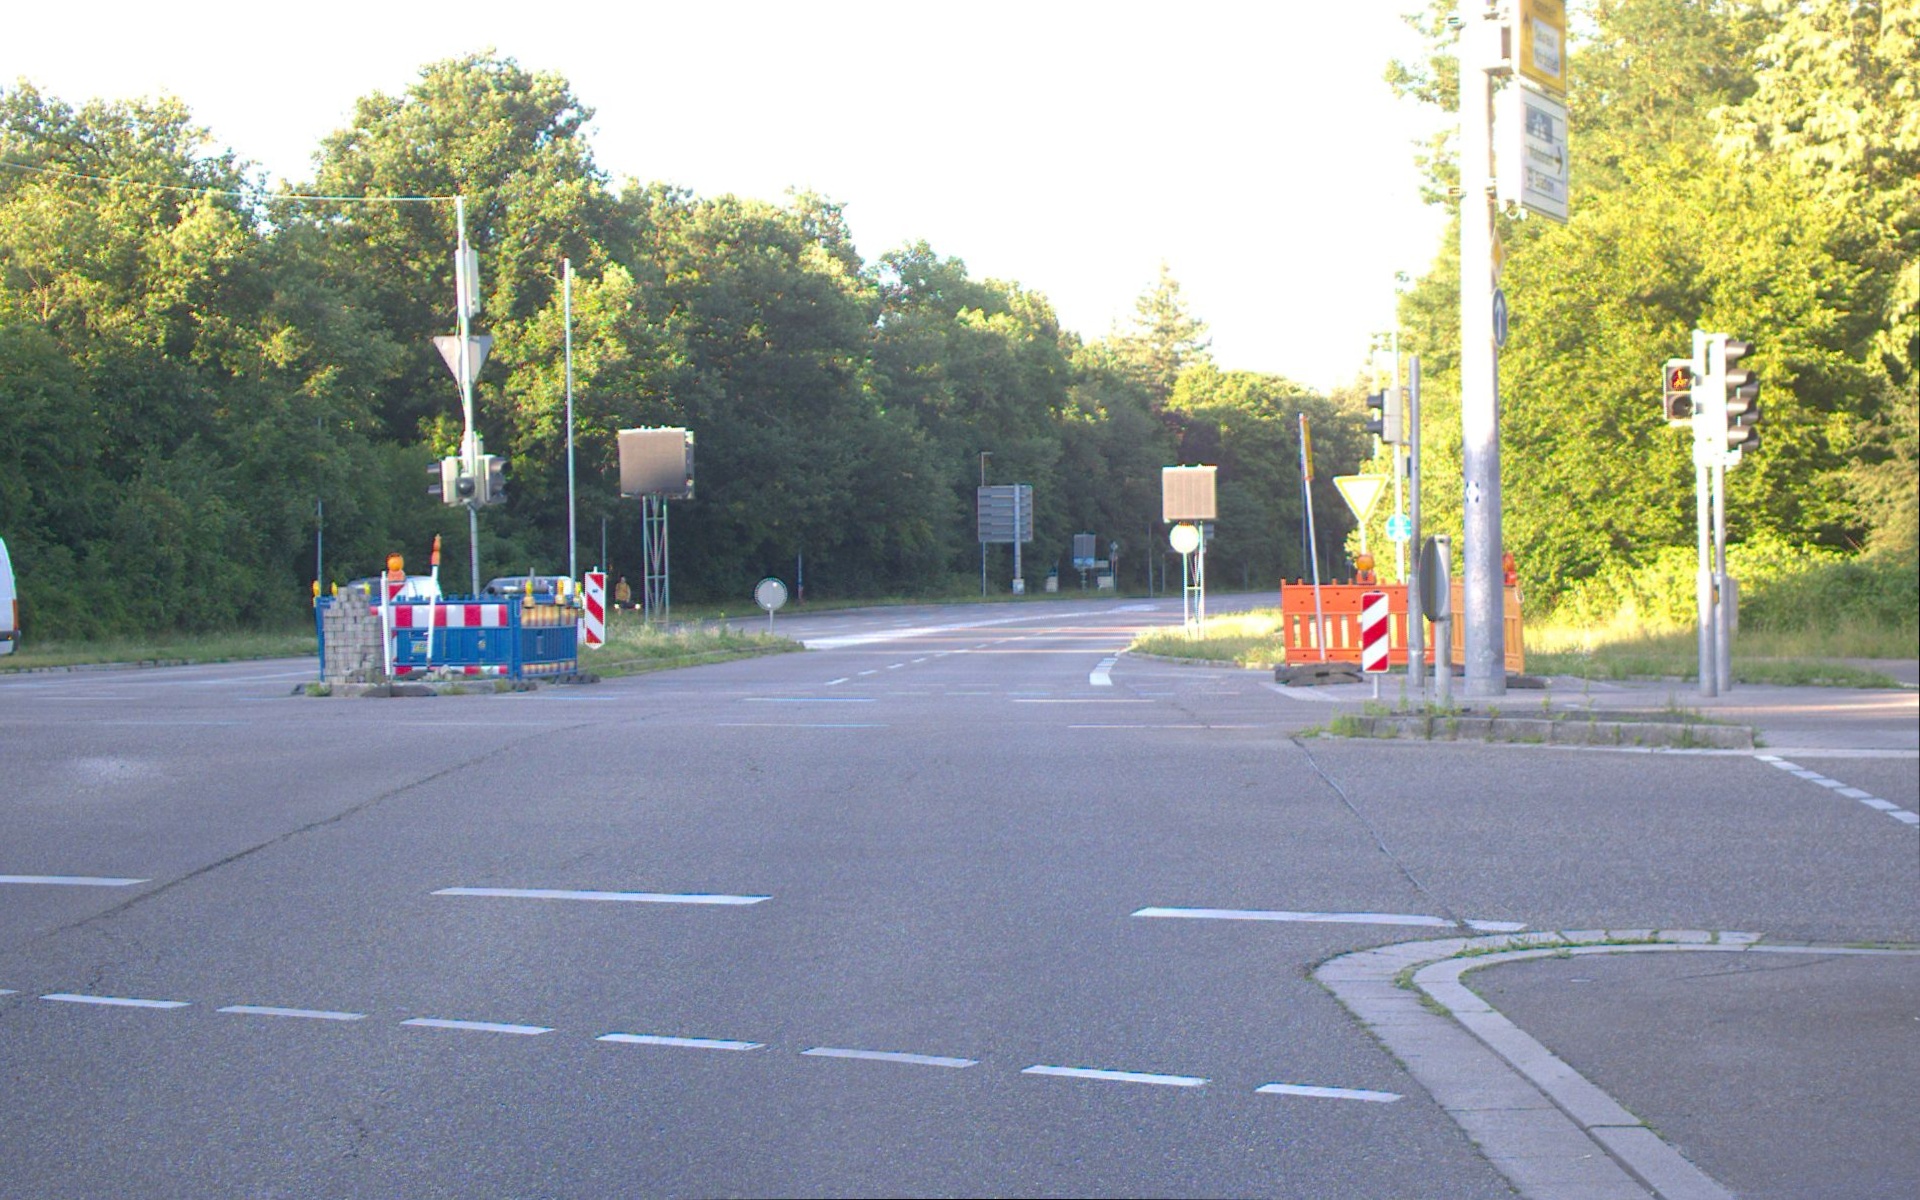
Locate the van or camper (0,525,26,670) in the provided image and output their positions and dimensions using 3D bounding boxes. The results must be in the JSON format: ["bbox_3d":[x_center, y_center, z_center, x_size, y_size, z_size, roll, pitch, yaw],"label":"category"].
[{"bbox_3d":[-20.136,0.007,60.879,2.889,2.643,7.111,0,1,27],"label":"van or camper"}]

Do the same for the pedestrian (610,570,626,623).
[{"bbox_3d":[-13.148,-0.145,132.068,0.521,2.007,0.600,1,0,-1],"label":"pedestrian"}]
